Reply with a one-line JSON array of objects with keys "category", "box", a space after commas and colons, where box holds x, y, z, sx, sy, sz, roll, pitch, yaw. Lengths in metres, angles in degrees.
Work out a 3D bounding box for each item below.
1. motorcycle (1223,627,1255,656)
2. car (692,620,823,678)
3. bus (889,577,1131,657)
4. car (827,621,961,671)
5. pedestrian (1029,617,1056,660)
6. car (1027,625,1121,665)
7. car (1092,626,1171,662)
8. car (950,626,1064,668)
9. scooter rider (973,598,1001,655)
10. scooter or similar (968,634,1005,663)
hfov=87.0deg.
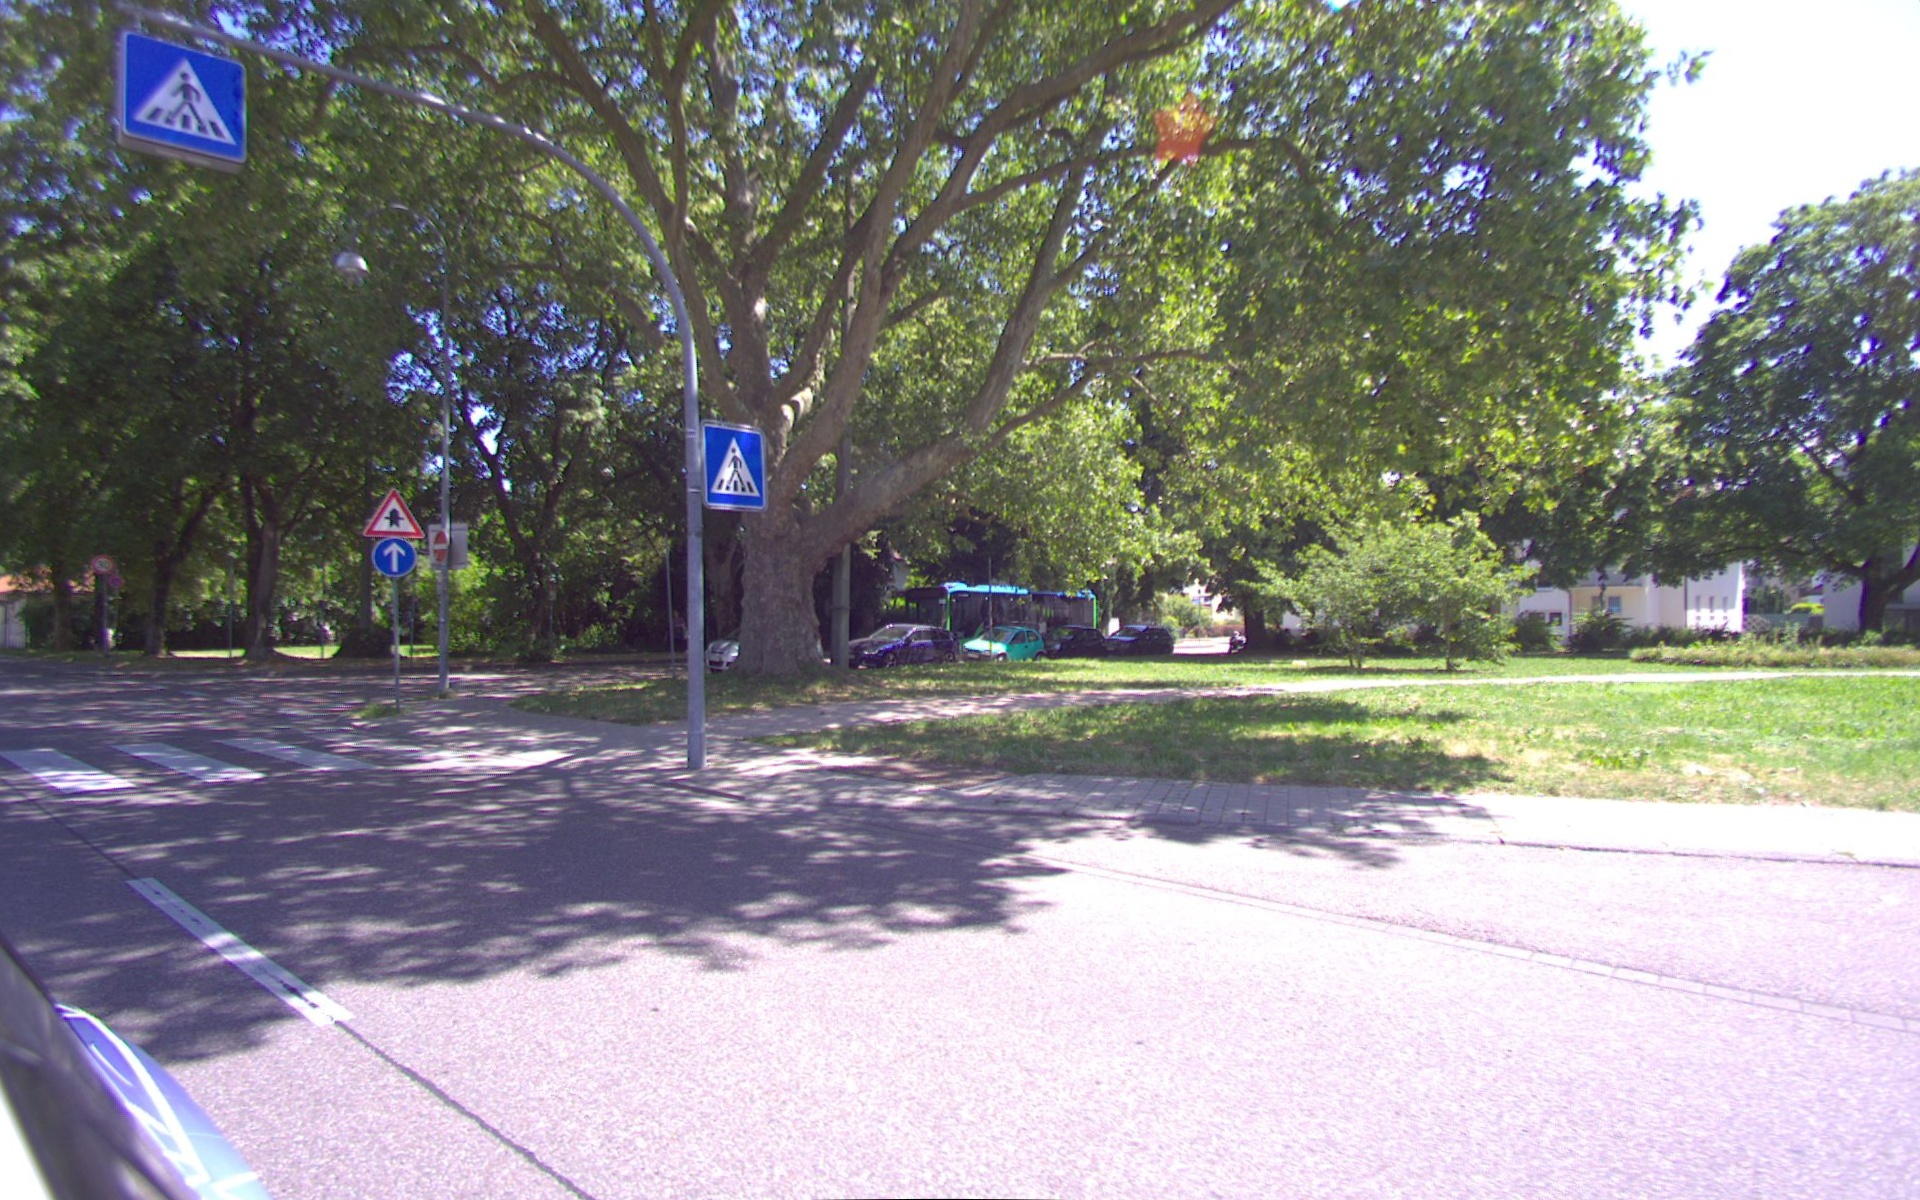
[{"category": "motorcycle", "box": [14.561, 2.145, 52.828, 0.713, 1.437, 2.231, -1, -2, 40]}, {"category": "car", "box": [-5.728, 1.348, 28.872, 1.599, 1.508, 3.439, 0, -1, 40]}, {"category": "bus", "box": [3.040, 0.881, 48.937, 2.875, 3.320, 15.738, -1, -2, 39]}, {"category": "car", "box": [-2.071, 1.436, 32.744, 1.754, 1.450, 4.443, 0, -1, 40]}, {"category": "pedestrian", "box": [3.502, 1.613, 42.899, 0.721, 1.816, 0.929, -1, -2, 37]}, {"category": "car", "box": [4.684, 1.789, 41.138, 1.758, 1.504, 4.317, -1, -2, 39]}, {"category": "car", "box": [7.589, 1.911, 44.636, 1.758, 1.504, 3.866, -1, -2, 39]}, {"category": "car", "box": [1.790, 1.699, 37.444, 1.754, 1.450, 4.706, -1, -2, 40]}, {"category": "scooter rider", "box": [1.116, 1.103, 42.241, 0.741, 2.335, 0.914, -2, -2, 42]}, {"category": "scooter or similar", "box": [1.112, 2.007, 42.211, 0.741, 1.192, 1.498, -2, -2, 42]}]
